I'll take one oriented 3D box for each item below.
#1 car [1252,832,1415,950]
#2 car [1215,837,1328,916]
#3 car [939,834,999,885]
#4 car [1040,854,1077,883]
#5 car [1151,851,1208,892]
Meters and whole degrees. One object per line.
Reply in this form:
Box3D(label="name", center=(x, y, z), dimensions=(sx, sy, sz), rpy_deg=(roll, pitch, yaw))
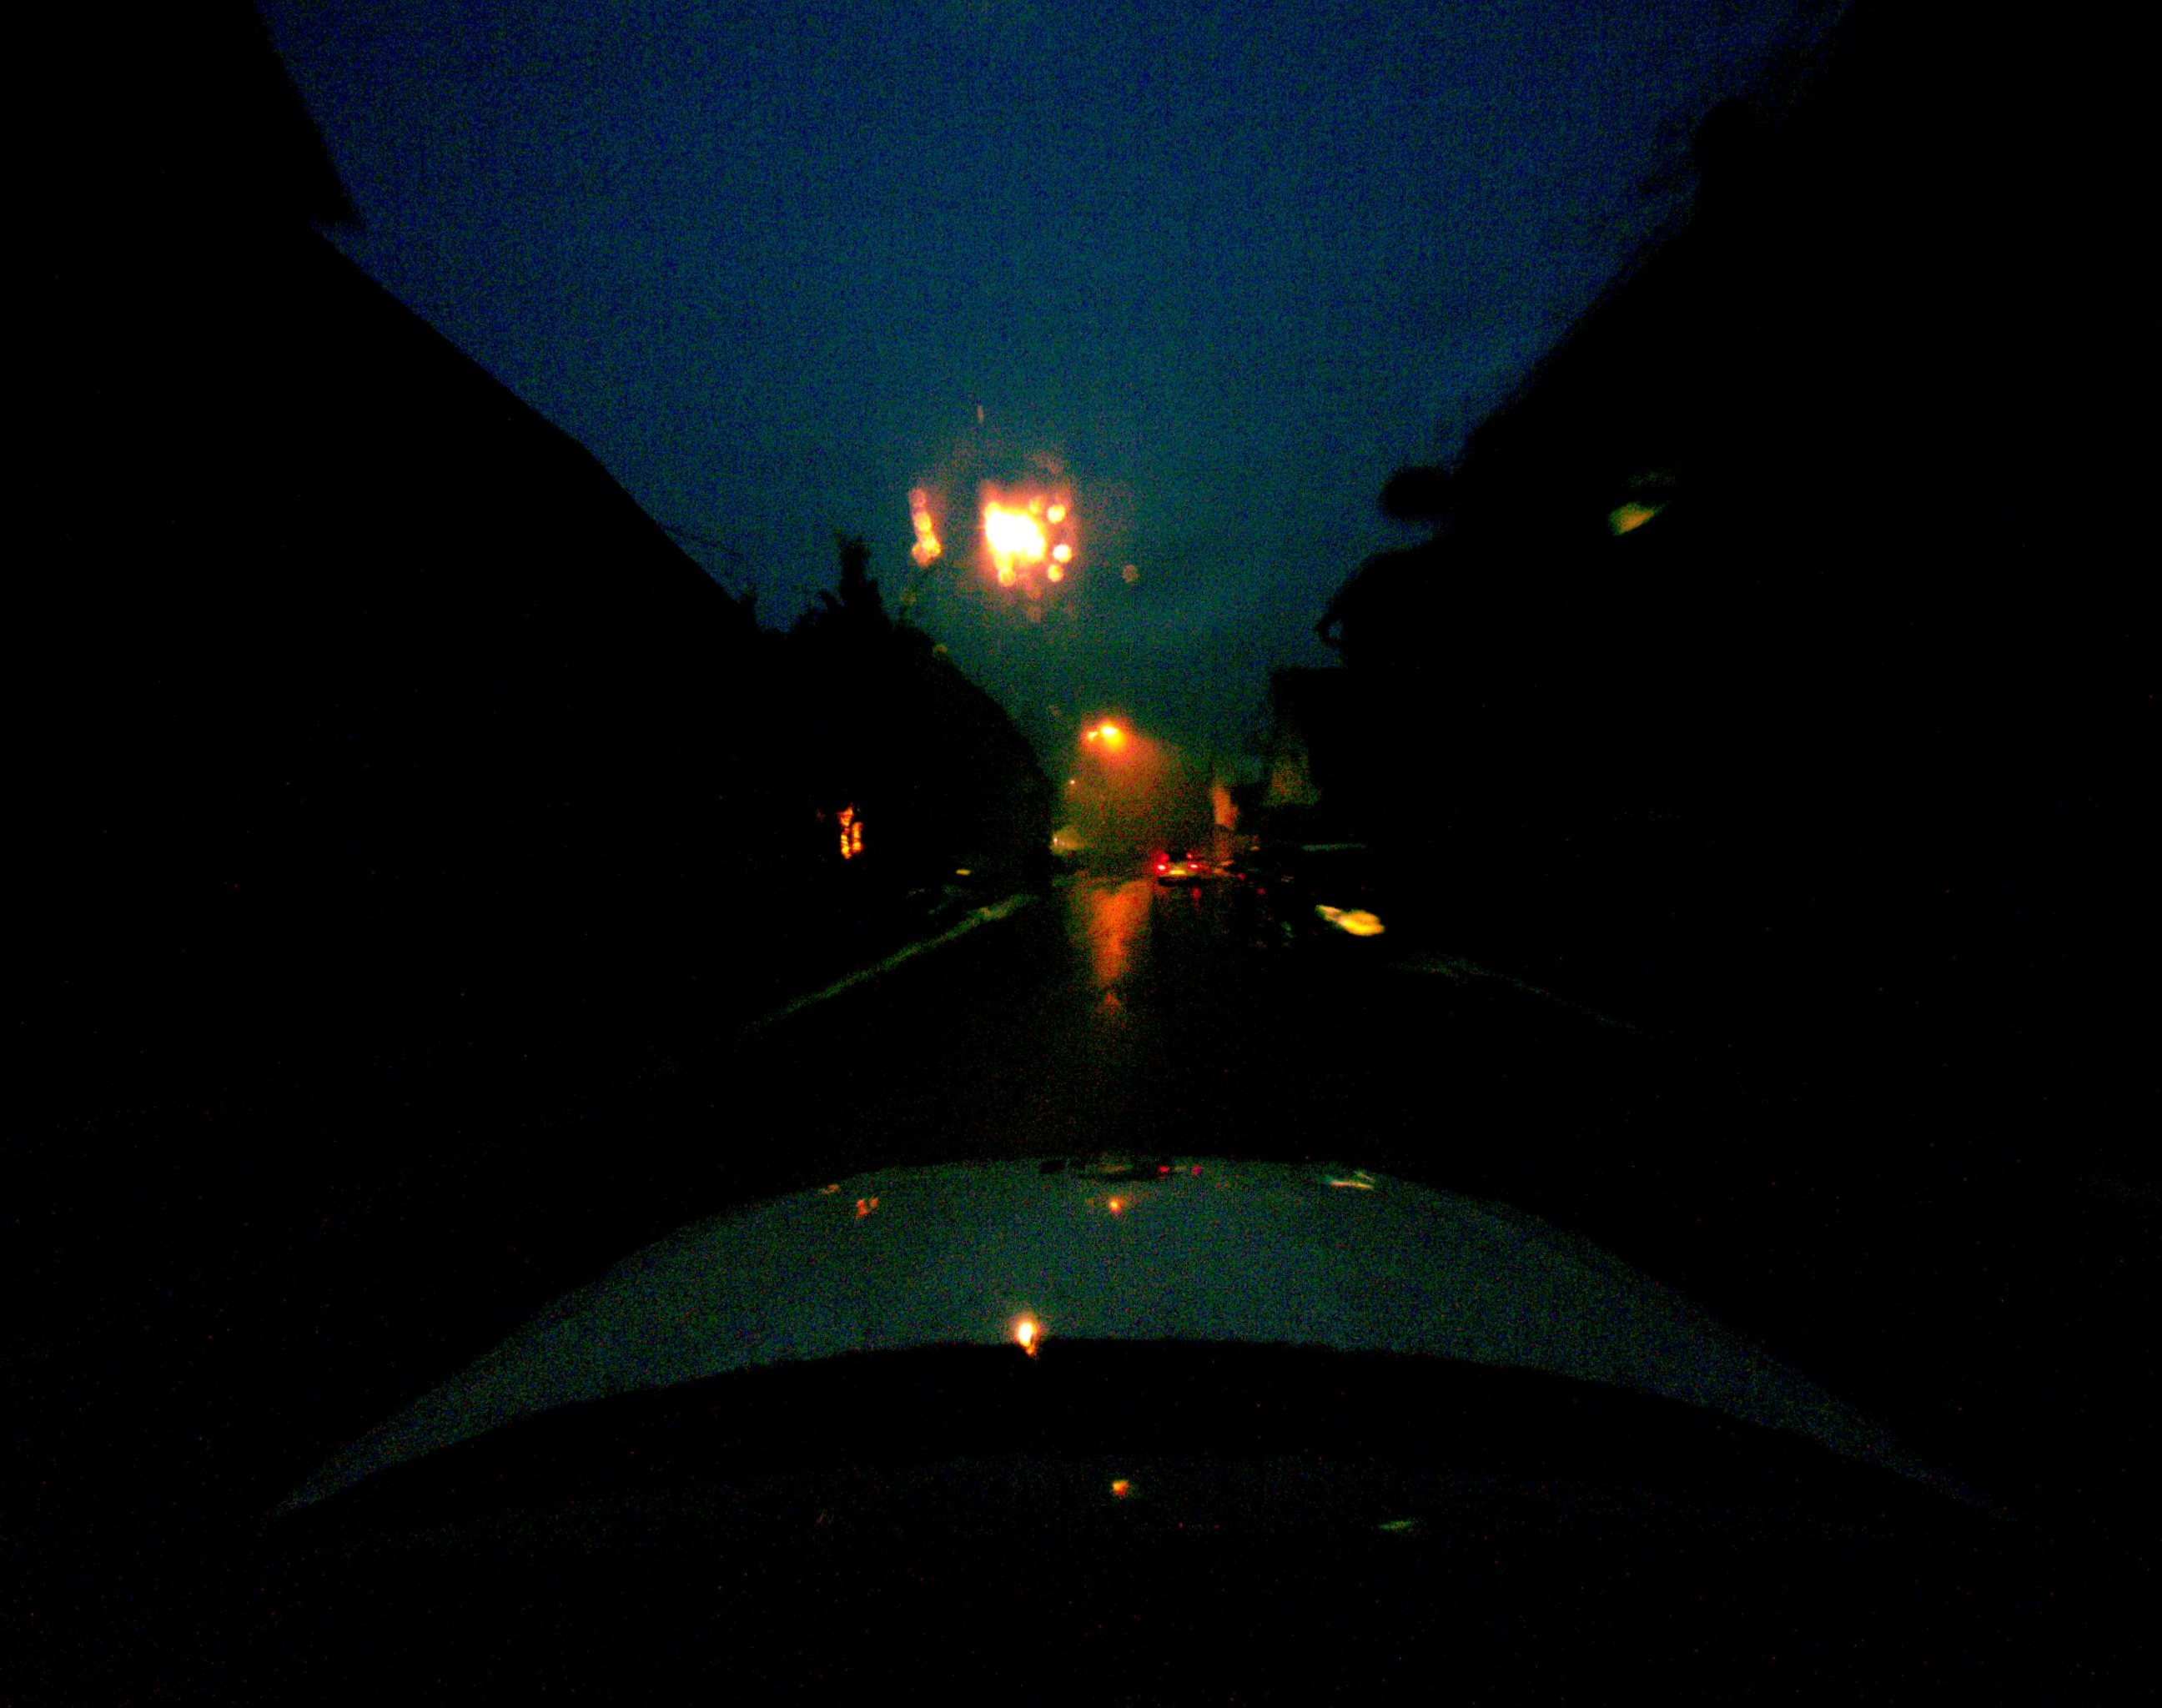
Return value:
Box3D(label="car", center=(3.678, 0.433, 12.506), dimensions=(1.707, 1.499, 3.915), rpy_deg=(1, 1, 7))
Box3D(label="car", center=(4.022, 0.446, 17.868), dimensions=(1.901, 1.481, 4.289), rpy_deg=(-1, 0, 6))
Box3D(label="car", center=(-4.276, 0.229, 31.691), dimensions=(1.760, 1.736, 4.635), rpy_deg=(3, -1, -2))
Box3D(label="car", center=(-1.304, 0.839, 49.140), dimensions=(1.986, 1.522, 4.192), rpy_deg=(1, 1, 1))
Box3D(label="car", center=(4.011, 0.694, 32.702), dimensions=(1.981, 1.508, 4.011), rpy_deg=(1, -1, 11))
